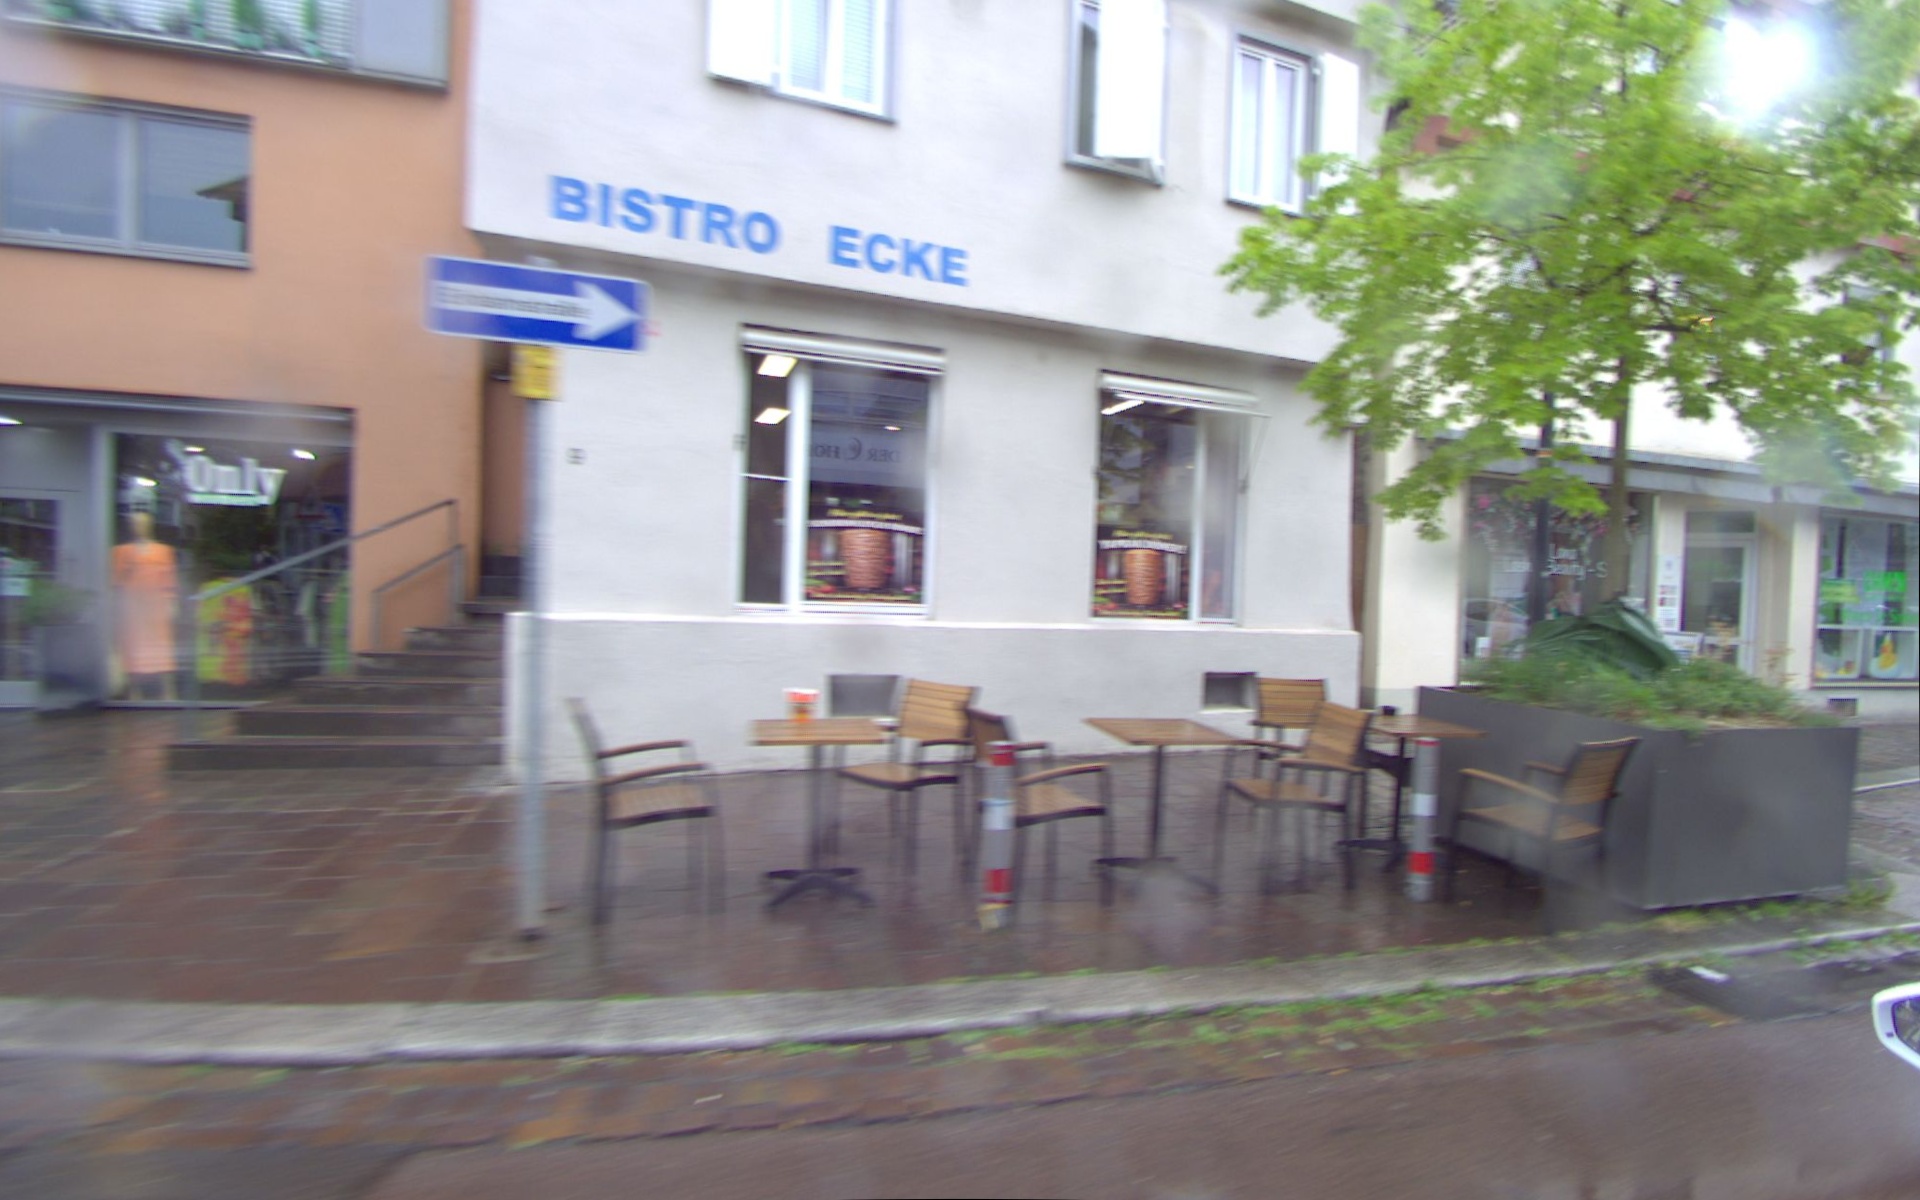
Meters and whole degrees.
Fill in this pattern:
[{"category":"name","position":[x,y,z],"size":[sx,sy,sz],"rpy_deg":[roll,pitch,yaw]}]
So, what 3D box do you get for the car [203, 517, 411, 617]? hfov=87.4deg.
[{"category":"car","position":[-17.579,-0.852,27.542],"size":[2.169,2.329,5.955],"rpy_deg":[3,1,-5]}]
